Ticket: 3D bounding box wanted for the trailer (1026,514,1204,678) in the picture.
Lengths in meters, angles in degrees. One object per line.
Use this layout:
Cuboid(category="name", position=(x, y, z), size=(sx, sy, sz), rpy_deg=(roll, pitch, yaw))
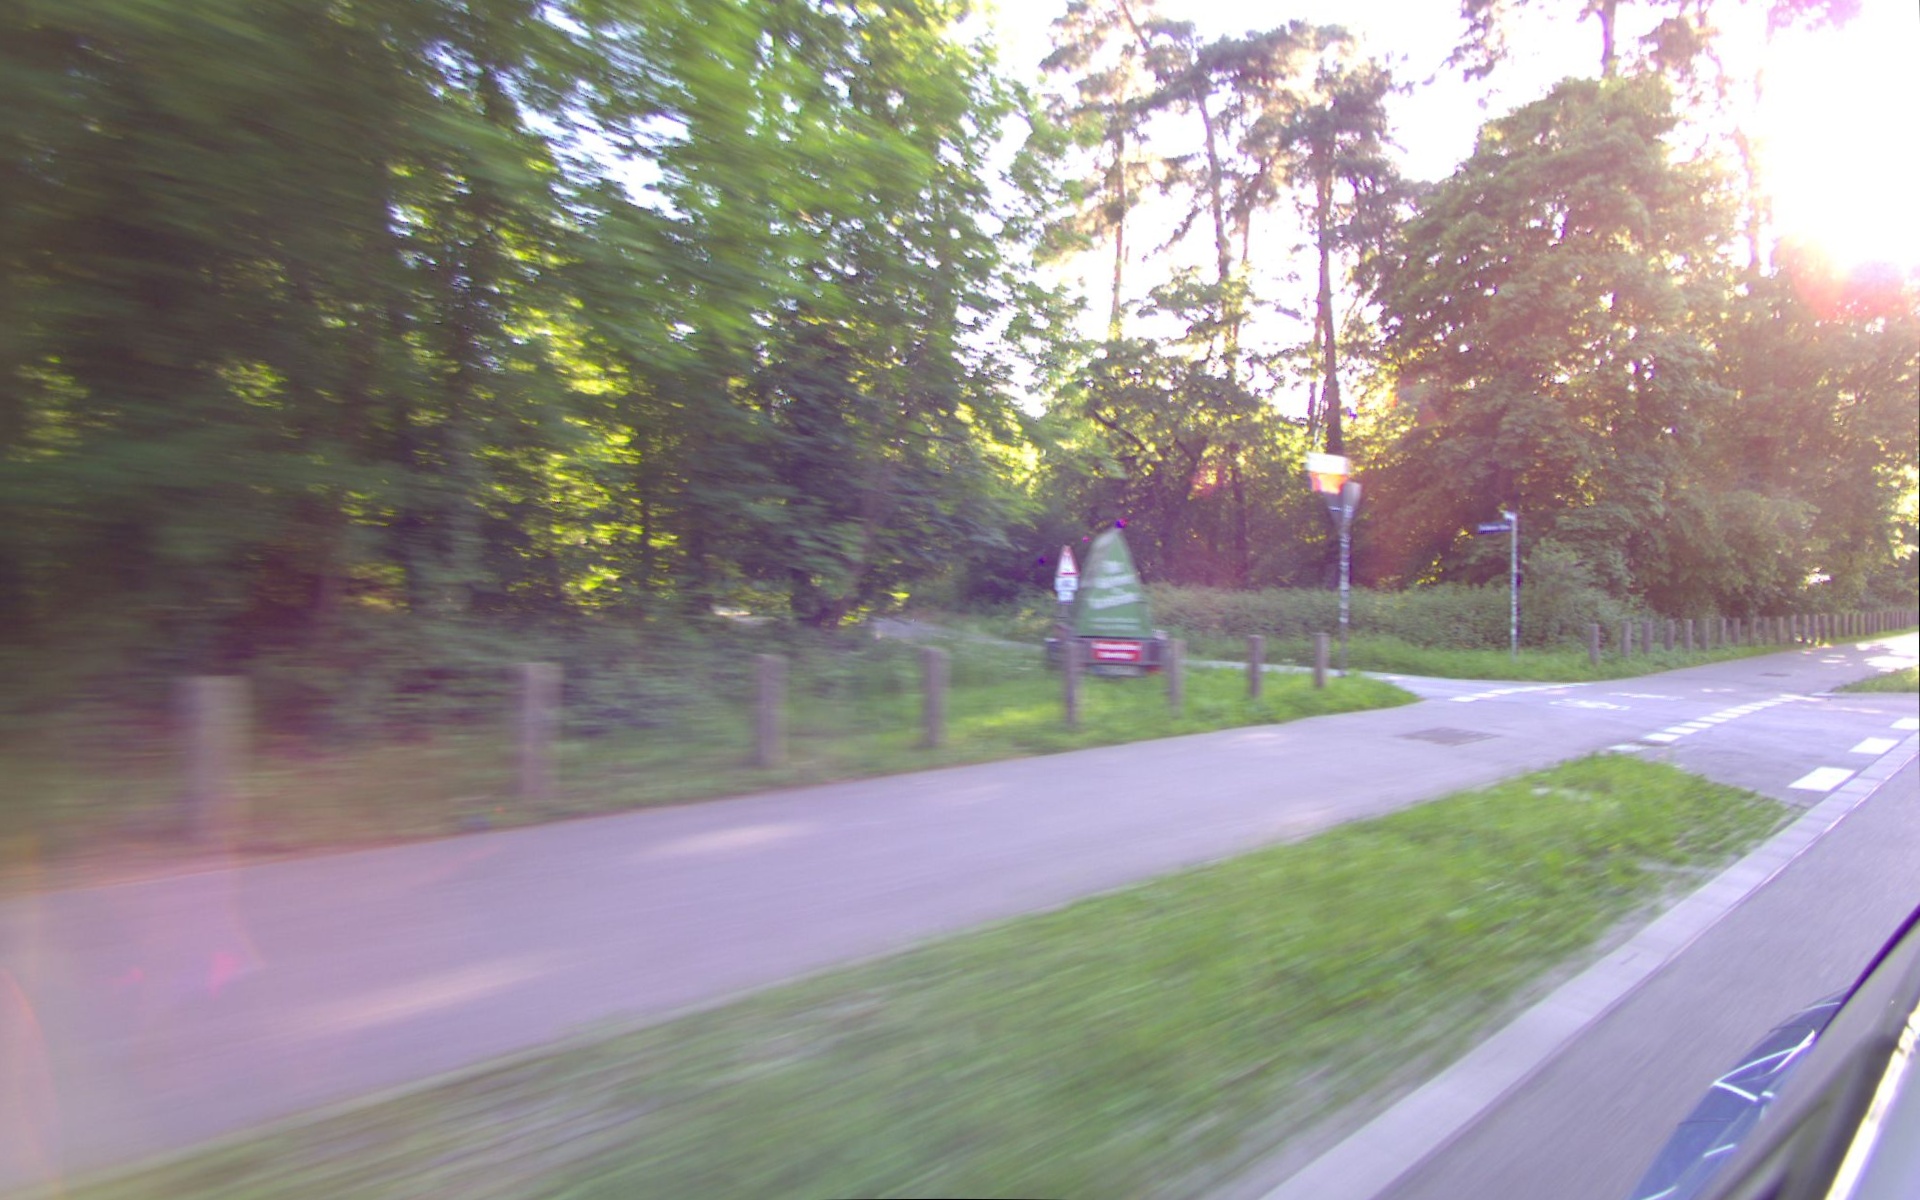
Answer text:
Cuboid(category="trailer", position=(2.095, -0.109, 14.916), size=(1.962, 2.047, 4.227), rpy_deg=(1, 1, 0))
